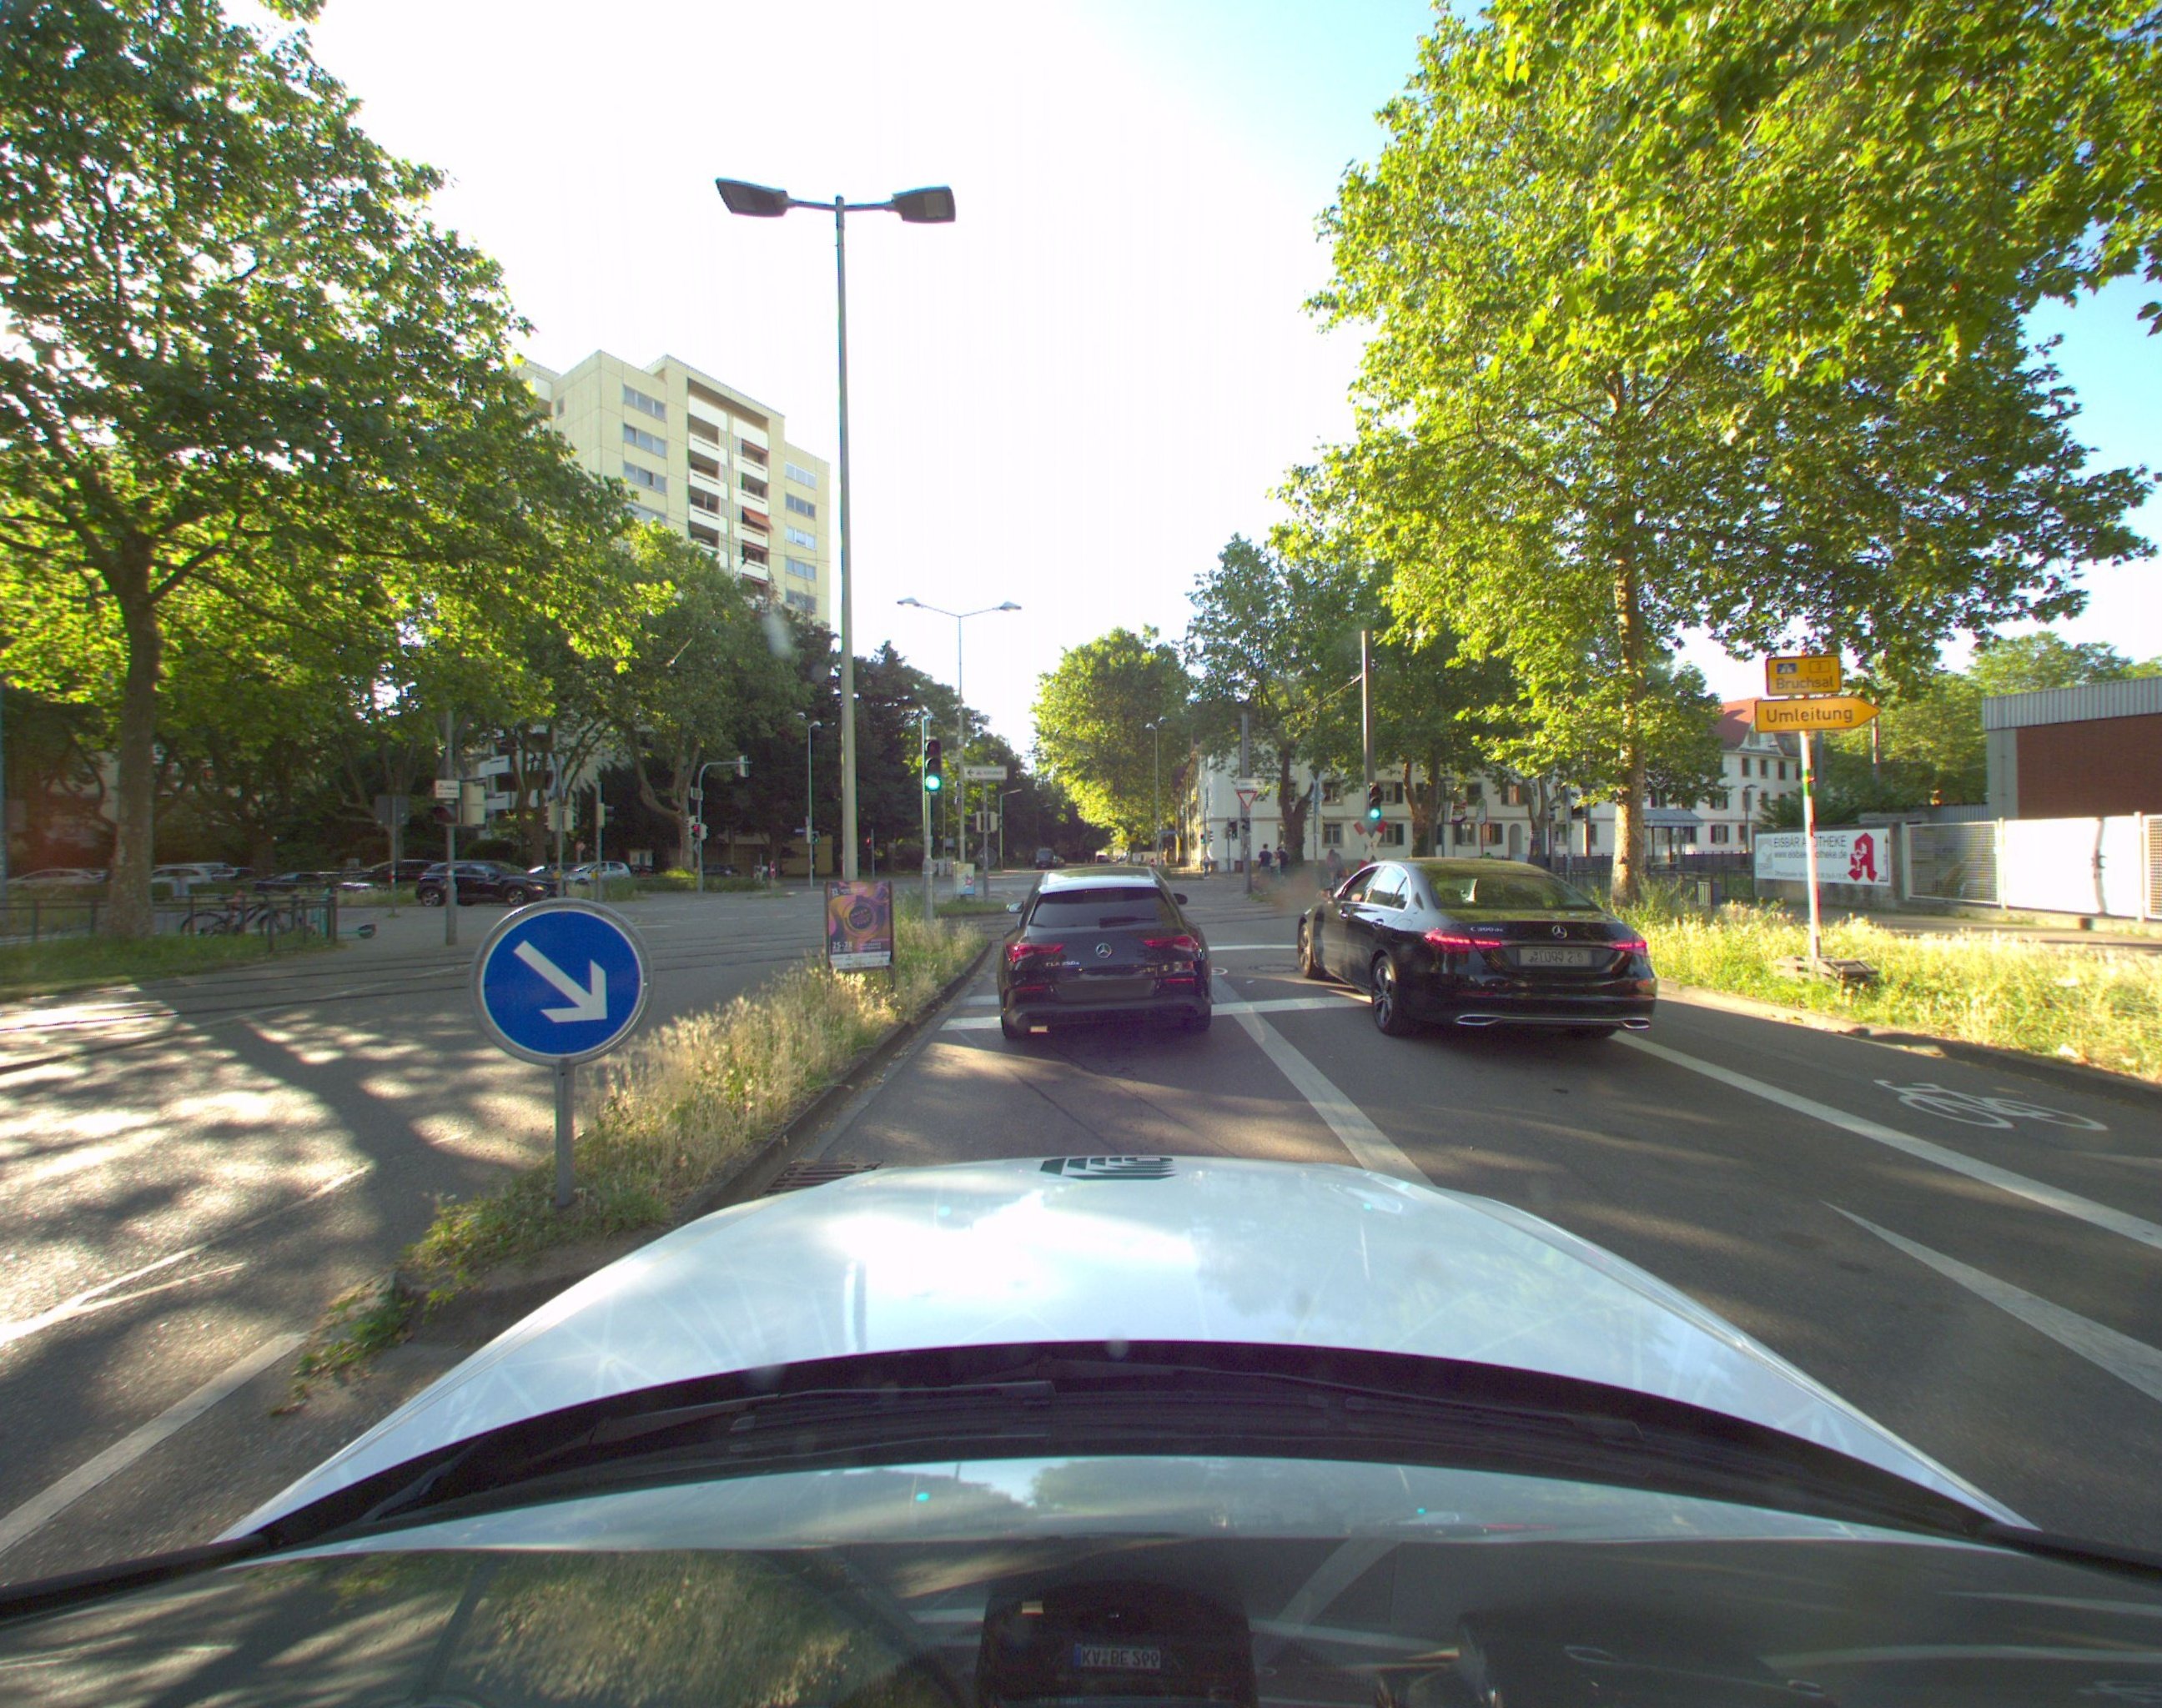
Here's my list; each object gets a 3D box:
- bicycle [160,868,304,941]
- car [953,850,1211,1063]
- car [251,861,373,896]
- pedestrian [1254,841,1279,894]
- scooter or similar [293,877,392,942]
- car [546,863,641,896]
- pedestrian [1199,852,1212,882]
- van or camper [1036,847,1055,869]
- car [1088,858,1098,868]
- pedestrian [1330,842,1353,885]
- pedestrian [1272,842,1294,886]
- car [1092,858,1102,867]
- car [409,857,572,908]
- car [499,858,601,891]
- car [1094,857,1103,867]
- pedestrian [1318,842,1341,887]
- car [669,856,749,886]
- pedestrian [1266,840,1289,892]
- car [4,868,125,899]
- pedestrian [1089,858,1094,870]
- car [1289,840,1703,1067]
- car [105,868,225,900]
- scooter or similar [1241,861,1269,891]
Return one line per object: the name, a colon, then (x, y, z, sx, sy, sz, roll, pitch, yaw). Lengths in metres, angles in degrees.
bicycle: (-15.959, 0.923, 15.364, 1.845, 1.307, 0.380, 0, -1, -26)
car: (0.119, 0.736, 7.948, 1.881, 1.450, 4.004, 0, 2, 3)
car: (-37.400, 1.150, 39.712, 1.716, 1.596, 4.025, -1, -1, 32)
pedestrian: (6.706, 0.487, 29.482, 0.704, 1.918, 0.683, 0, -1, -5)
scooter or similar: (-15.099, 1.108, 16.676, 0.408, 1.239, 1.450, -1, -1, 40)
car: (-24.907, 1.250, 41.727, 1.716, 1.596, 3.831, -1, -1, 32)
pedestrian: (8.031, 0.813, 52.637, 0.703, 1.918, 0.838, 0, -1, -2)
van or camper: (-4.348, 0.508, 99.737, 1.986, 2.541, 4.653, 0, -1, 2)
car: (2.209, 1.597, 145.412, 1.727, 1.765, 4.020, 0, -1, 2)
pedestrian: (11.587, 0.417, 36.211, 0.703, 1.918, 0.838, 0, -1, -2)
pedestrian: (8.904, 0.438, 35.982, 0.704, 1.918, 0.837, 0, -1, -5)
car: (3.025, 1.591, 150.216, 1.727, 1.765, 4.020, 0, -1, 2)
car: (-19.456, 0.914, 26.978, 3.981, 1.596, 1.735, 0, -1, -5)
car: (-27.203, 1.029, 41.866, 1.716, 1.596, 4.025, -1, -1, 32)
car: (3.363, 1.547, 158.299, 1.727, 1.765, 4.020, 0, -1, 2)
pedestrian: (10.735, 0.439, 35.232, 0.703, 1.918, 0.838, 0, -1, -2)
car: (-22.615, 1.009, 49.624, 3.963, 1.774, 2.005, 0, -1, 9)
pedestrian: (7.305, 0.442, 30.325, 0.681, 1.918, 0.707, 0, -1, -2)
car: (-57.082, 1.615, 45.804, 1.716, 1.596, 4.025, -1, -1, 32)
pedestrian: (1.630, 1.576, 129.877, 0.704, 1.918, 0.837, 0, -1, -8)
car: (3.385, 0.643, 7.764, 1.882, 1.490, 4.385, 0, 2, 3)
car: (-49.144, 1.561, 43.794, 1.716, 1.596, 4.025, -1, -1, 32)
scooter or similar: (6.466, 0.798, 30.330, 0.826, 1.104, 0.808, 0, -1, -4)
